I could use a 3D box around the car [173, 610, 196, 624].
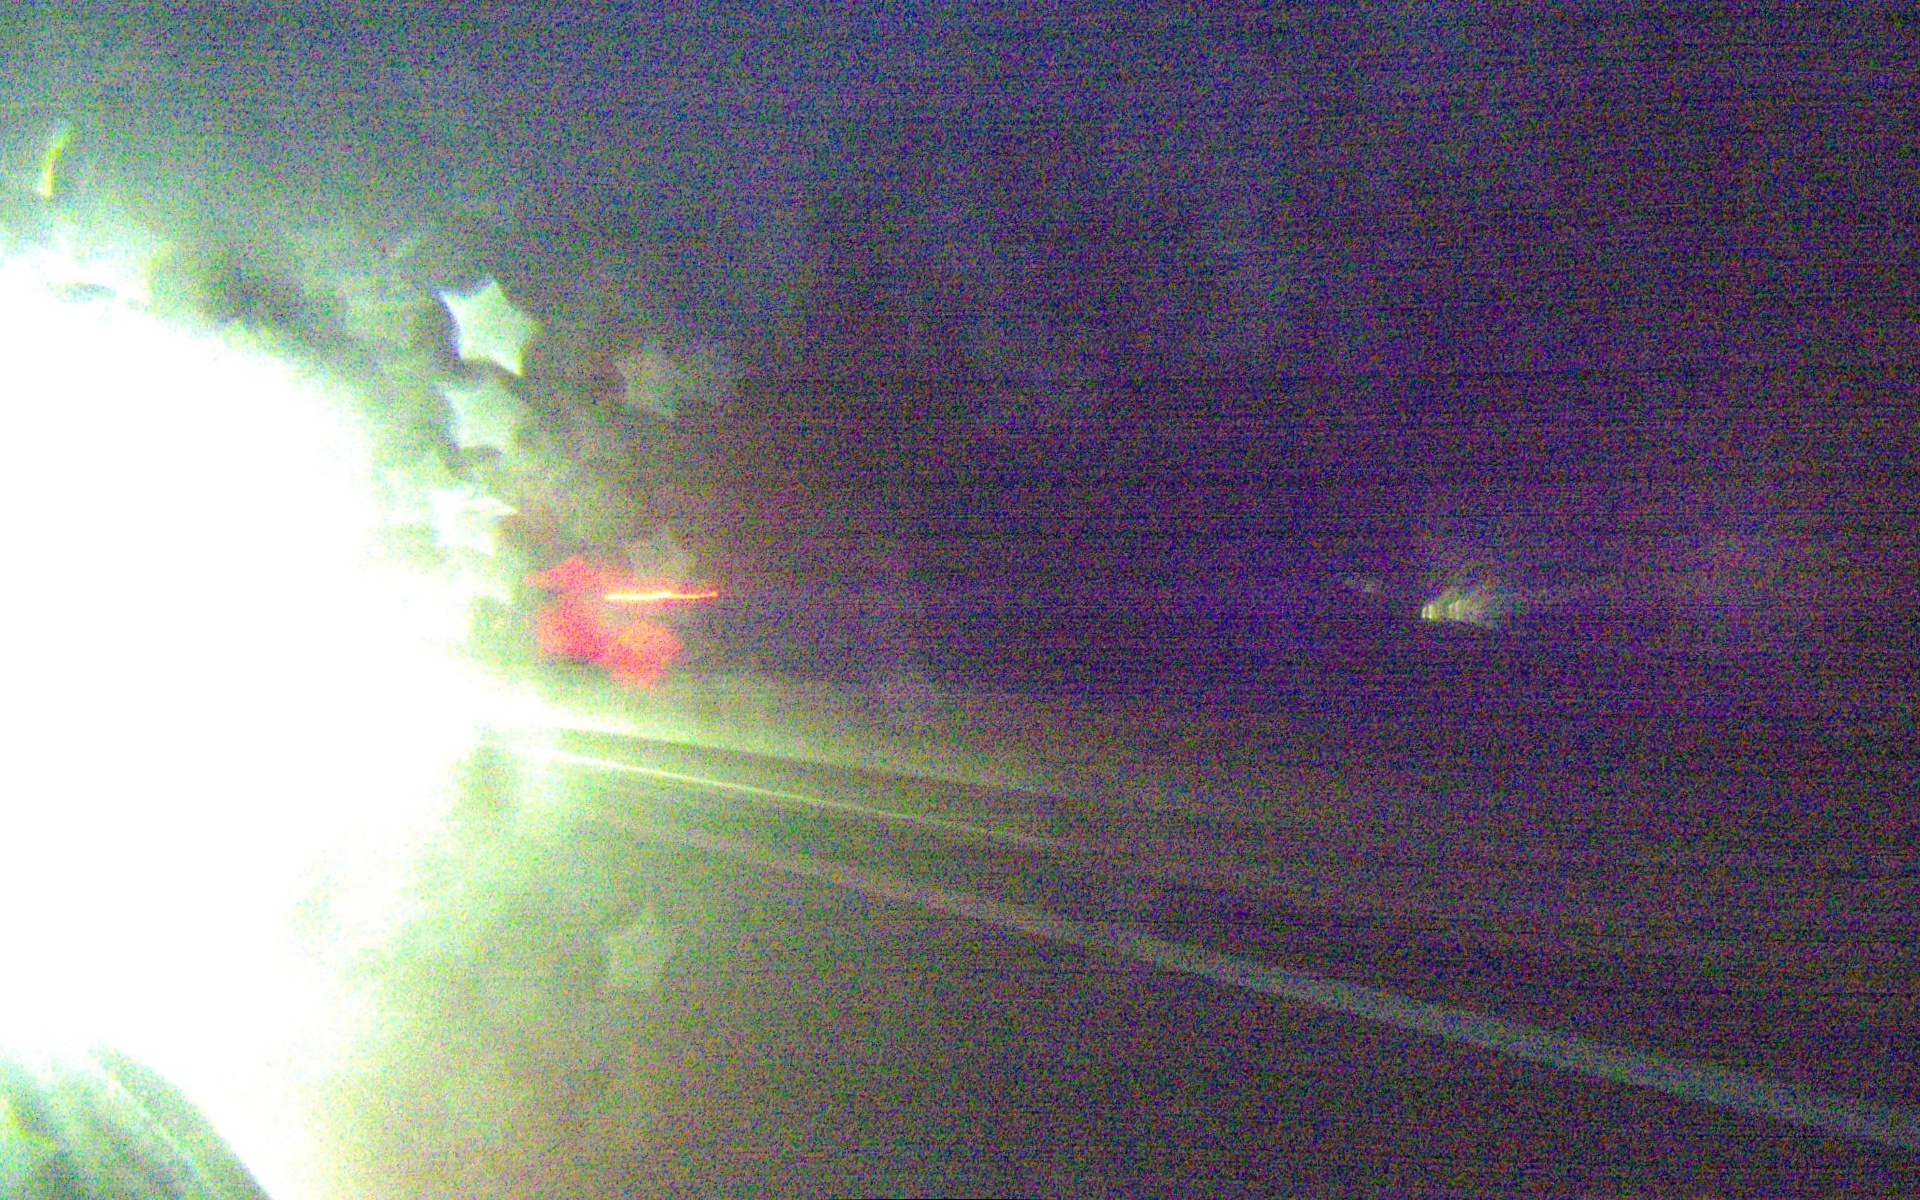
[{"bbox_3d":[-100.779,2.183,131.552,1.970,1.616,4.005,-6,2,-41],"label":"car"}]

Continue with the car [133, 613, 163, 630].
[{"bbox_3d":[-82.751,2.235,103.131,1.971,1.489,4.003,-6,2,-44],"label":"car"}]

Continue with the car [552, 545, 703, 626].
[{"bbox_3d":[-8.936,-0.366,27.102,3.998,1.866,1.973,-3,2,41],"label":"car"}]
